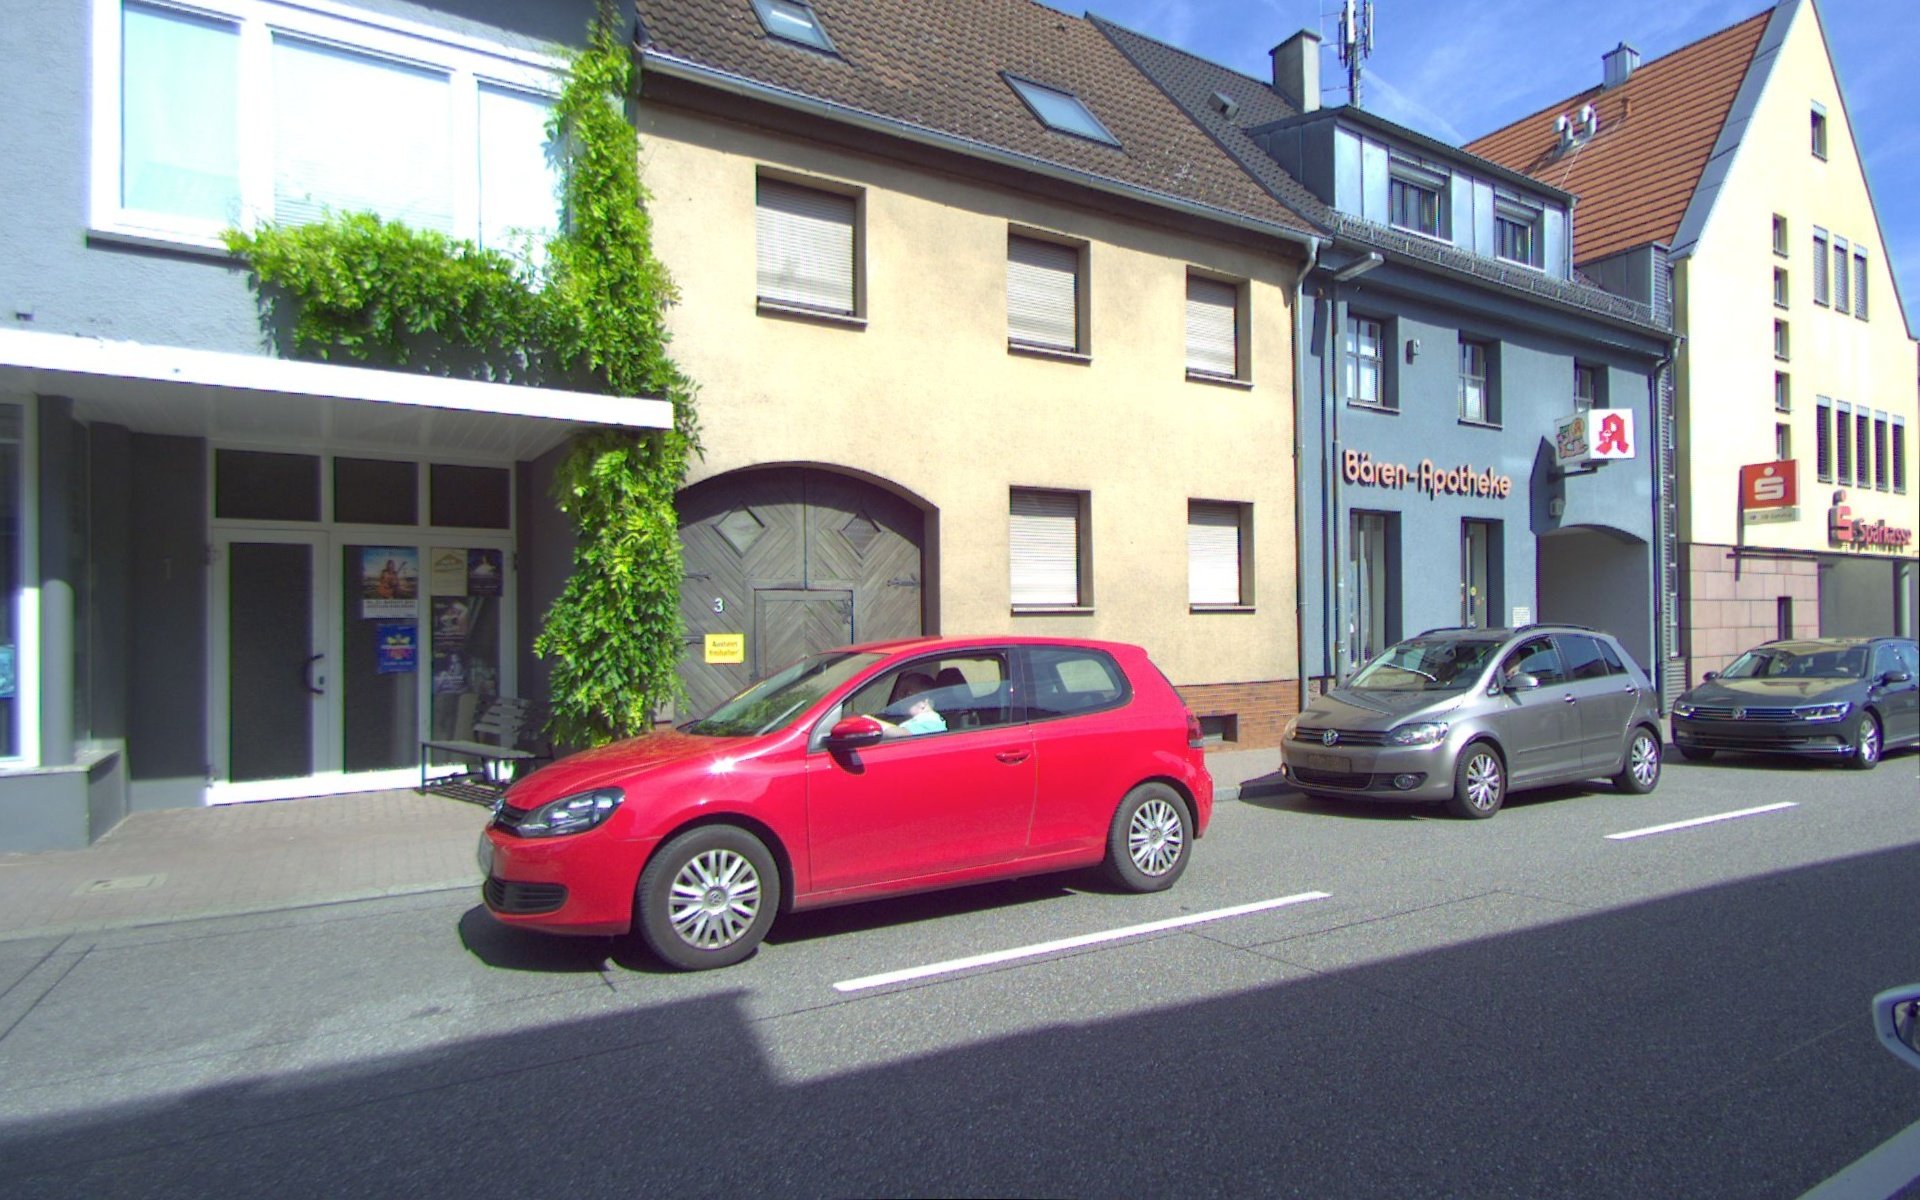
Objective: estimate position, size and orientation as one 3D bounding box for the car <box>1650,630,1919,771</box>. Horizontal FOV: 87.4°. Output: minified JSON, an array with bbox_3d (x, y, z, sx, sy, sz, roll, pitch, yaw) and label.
[{"bbox_3d":[10.654,1.143,12.420,4.372,1.469,1.781,1,-4,-30],"label":"car"}]

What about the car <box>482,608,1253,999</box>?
[{"bbox_3d":[-0.413,0.873,5.732,4.031,1.512,1.750,1,-4,-32],"label":"car"}]

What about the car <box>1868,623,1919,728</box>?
[{"bbox_3d":[16.824,1.179,16.261,4.465,1.610,1.859,1,-4,-30],"label":"car"}]

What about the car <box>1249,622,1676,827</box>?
[{"bbox_3d":[4.715,1.020,9.312,3.972,1.540,1.622,1,-4,-30],"label":"car"}]
